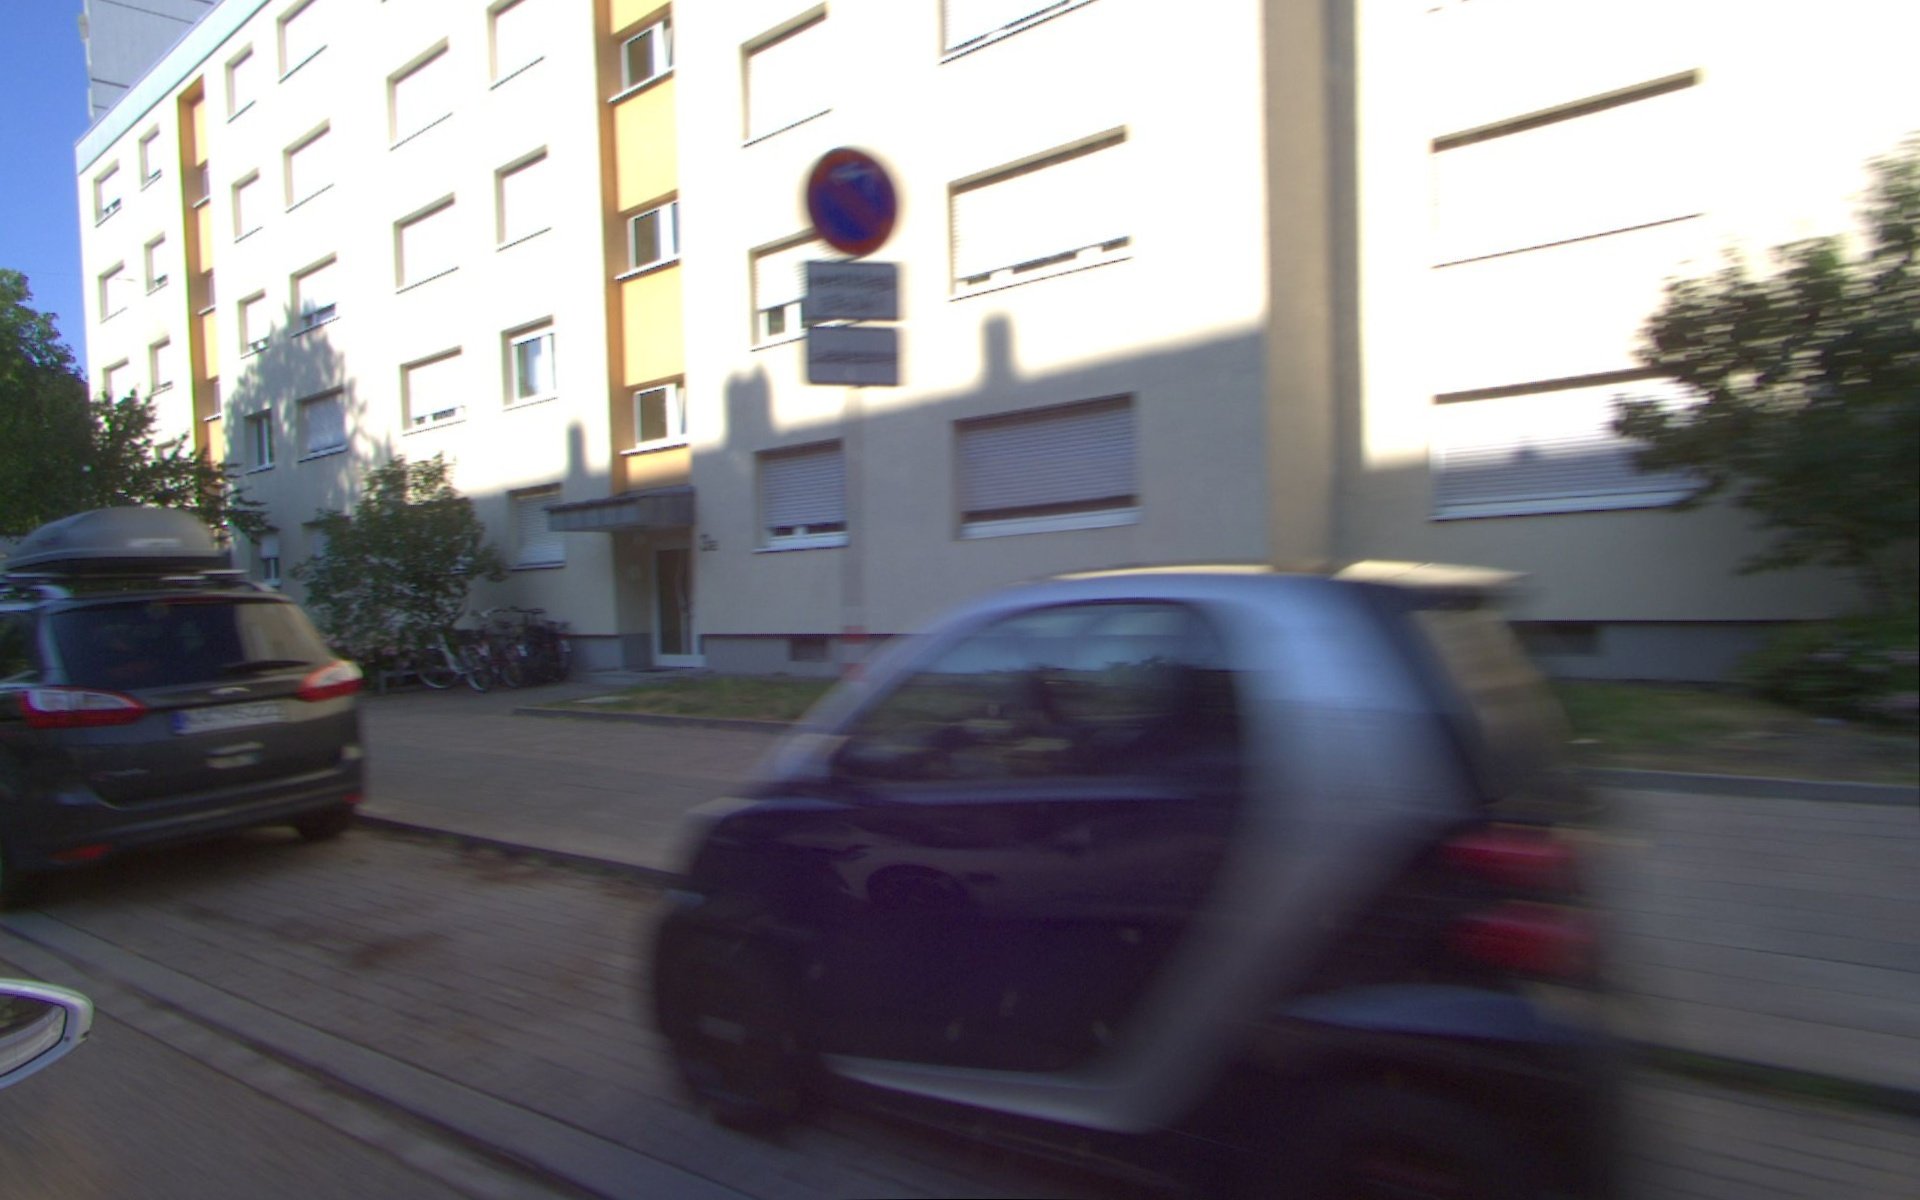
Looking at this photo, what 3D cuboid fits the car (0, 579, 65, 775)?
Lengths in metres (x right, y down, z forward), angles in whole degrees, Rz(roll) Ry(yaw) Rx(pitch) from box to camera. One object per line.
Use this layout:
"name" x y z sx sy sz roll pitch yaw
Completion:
"car" -10.497 0.763 9.361 4.612 1.681 1.922 -2 1 32

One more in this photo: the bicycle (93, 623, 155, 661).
"bicycle" -22.276 1.095 26.666 2.197 0.937 0.635 1 0 32

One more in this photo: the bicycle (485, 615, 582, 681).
"bicycle" -7.046 0.798 16.508 1.808 1.034 0.611 -2 -2 35

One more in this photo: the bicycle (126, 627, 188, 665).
"bicycle" -21.838 1.236 27.220 2.197 0.937 0.635 1 0 32

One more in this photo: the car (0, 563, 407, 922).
"car" -5.790 0.696 6.609 4.280 1.673 1.894 -1 0 32

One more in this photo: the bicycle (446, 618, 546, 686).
"bicycle" -7.401 0.827 15.926 1.808 1.034 0.611 -2 -2 35

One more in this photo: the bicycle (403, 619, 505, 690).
"bicycle" -7.782 0.830 15.386 1.808 1.034 0.611 -2 -2 35

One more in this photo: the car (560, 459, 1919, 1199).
"car" 0.963 0.597 2.540 3.984 1.514 1.602 -2 -1 32
